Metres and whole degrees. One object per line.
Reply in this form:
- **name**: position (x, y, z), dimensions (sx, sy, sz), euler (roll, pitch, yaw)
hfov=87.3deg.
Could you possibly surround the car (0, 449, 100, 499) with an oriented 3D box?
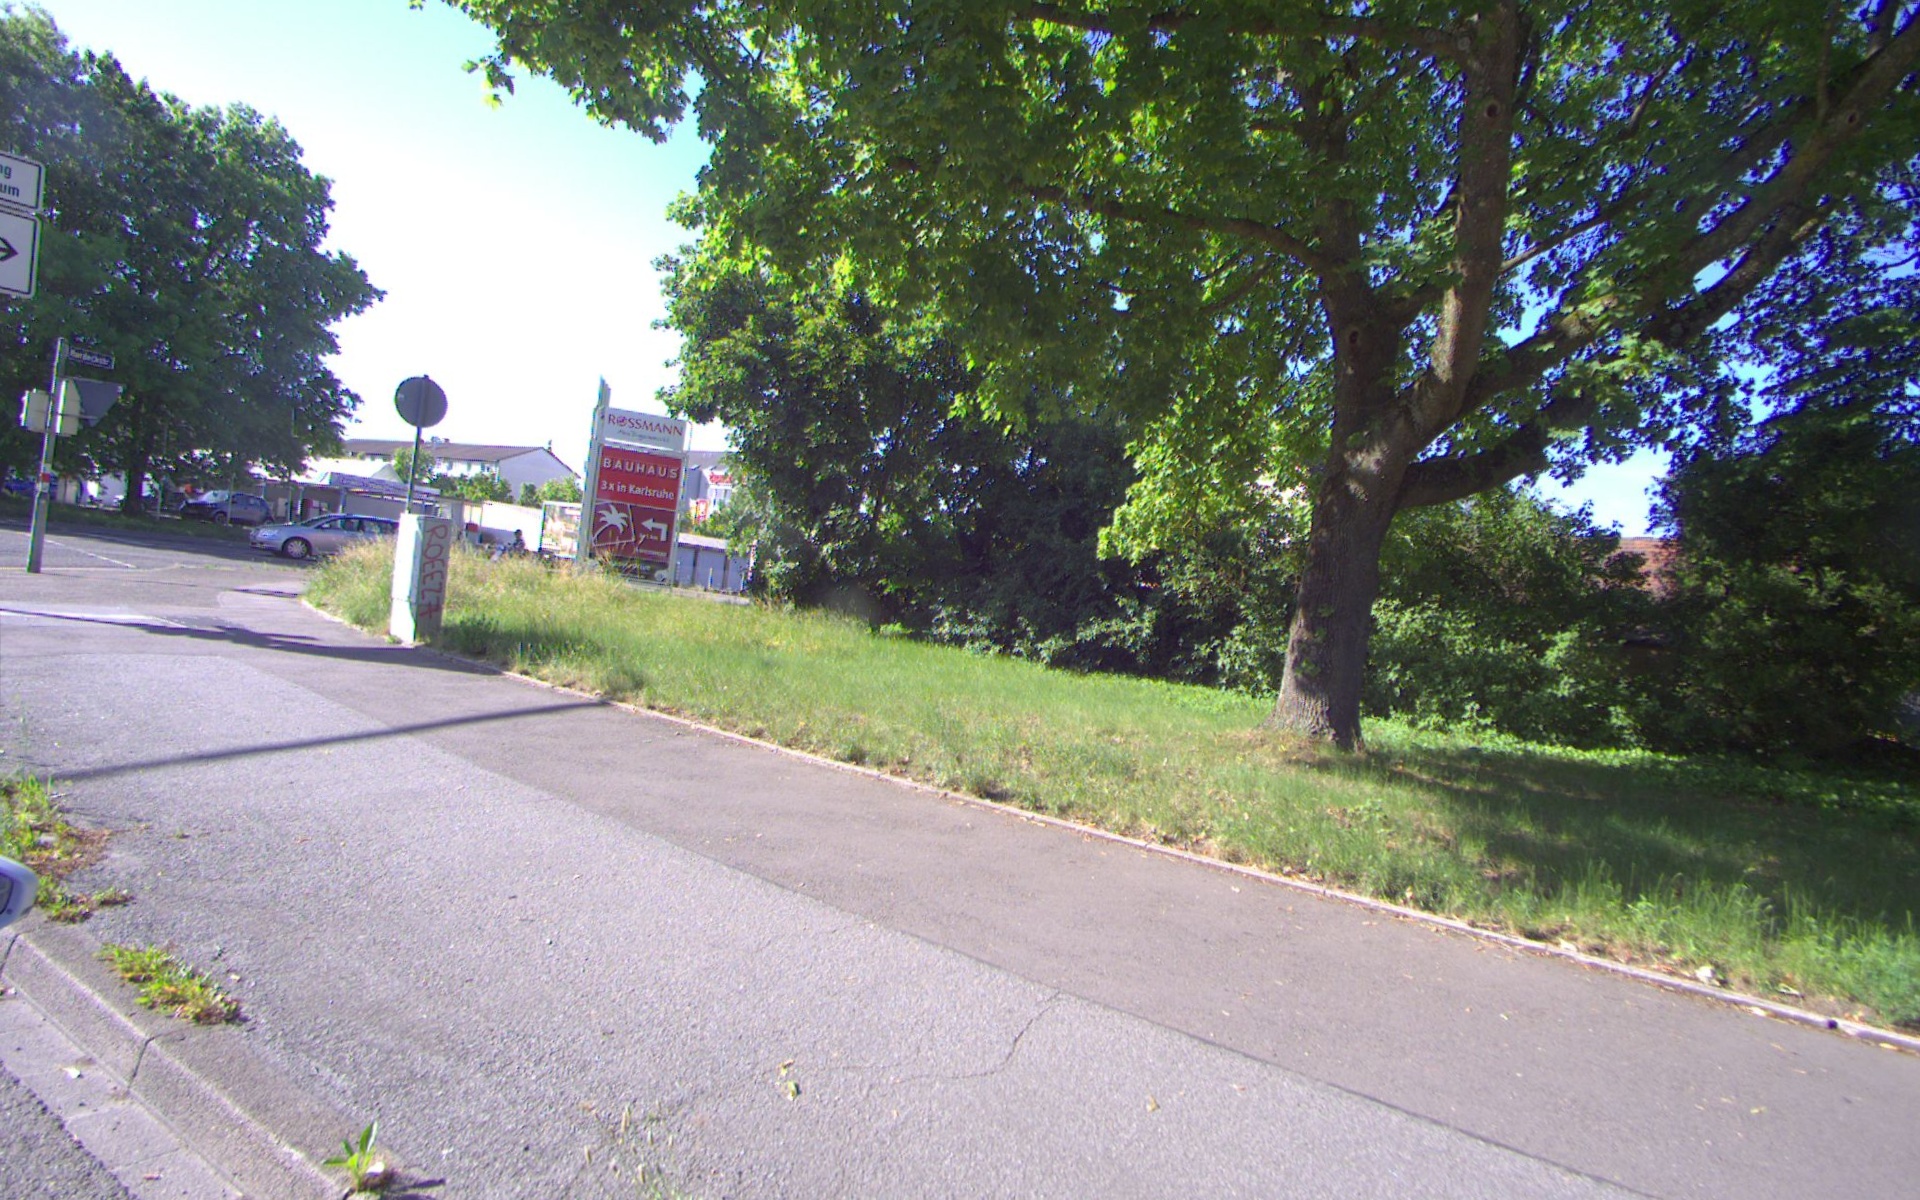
- **car**: position (-46.573, -6.397, 51.262), dimensions (1.675, 1.704, 3.722), euler (7, -2, 29)

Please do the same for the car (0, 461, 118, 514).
- **car**: position (-40.588, -5.016, 45.417), dimensions (1.772, 1.581, 3.851), euler (8, -2, 0)

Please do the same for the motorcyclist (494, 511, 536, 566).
- **motorcyclist**: position (-14.770, -2.037, 33.411), dimensions (0.858, 1.699, 0.824), euler (9, -2, -42)

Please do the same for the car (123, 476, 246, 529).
- **car**: position (-33.617, -4.176, 43.734), dimensions (1.771, 1.499, 3.854), euler (7, -2, 12)

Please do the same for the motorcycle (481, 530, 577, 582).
- **motorcycle**: position (-14.455, -1.462, 33.795), dimensions (2.718, 1.285, 0.824), euler (10, -3, -43)

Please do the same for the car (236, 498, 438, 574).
- **car**: position (-18.227, -1.842, 29.591), dimensions (1.973, 1.593, 4.610), euler (6, -1, 43)

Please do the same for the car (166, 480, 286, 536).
- **car**: position (-31.616, -3.939, 43.466), dimensions (1.771, 1.630, 3.854), euler (7, -2, 12)

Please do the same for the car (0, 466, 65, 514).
- **car**: position (-43.306, -5.135, 45.649), dimensions (1.672, 1.704, 3.729), euler (7, -2, 6)
